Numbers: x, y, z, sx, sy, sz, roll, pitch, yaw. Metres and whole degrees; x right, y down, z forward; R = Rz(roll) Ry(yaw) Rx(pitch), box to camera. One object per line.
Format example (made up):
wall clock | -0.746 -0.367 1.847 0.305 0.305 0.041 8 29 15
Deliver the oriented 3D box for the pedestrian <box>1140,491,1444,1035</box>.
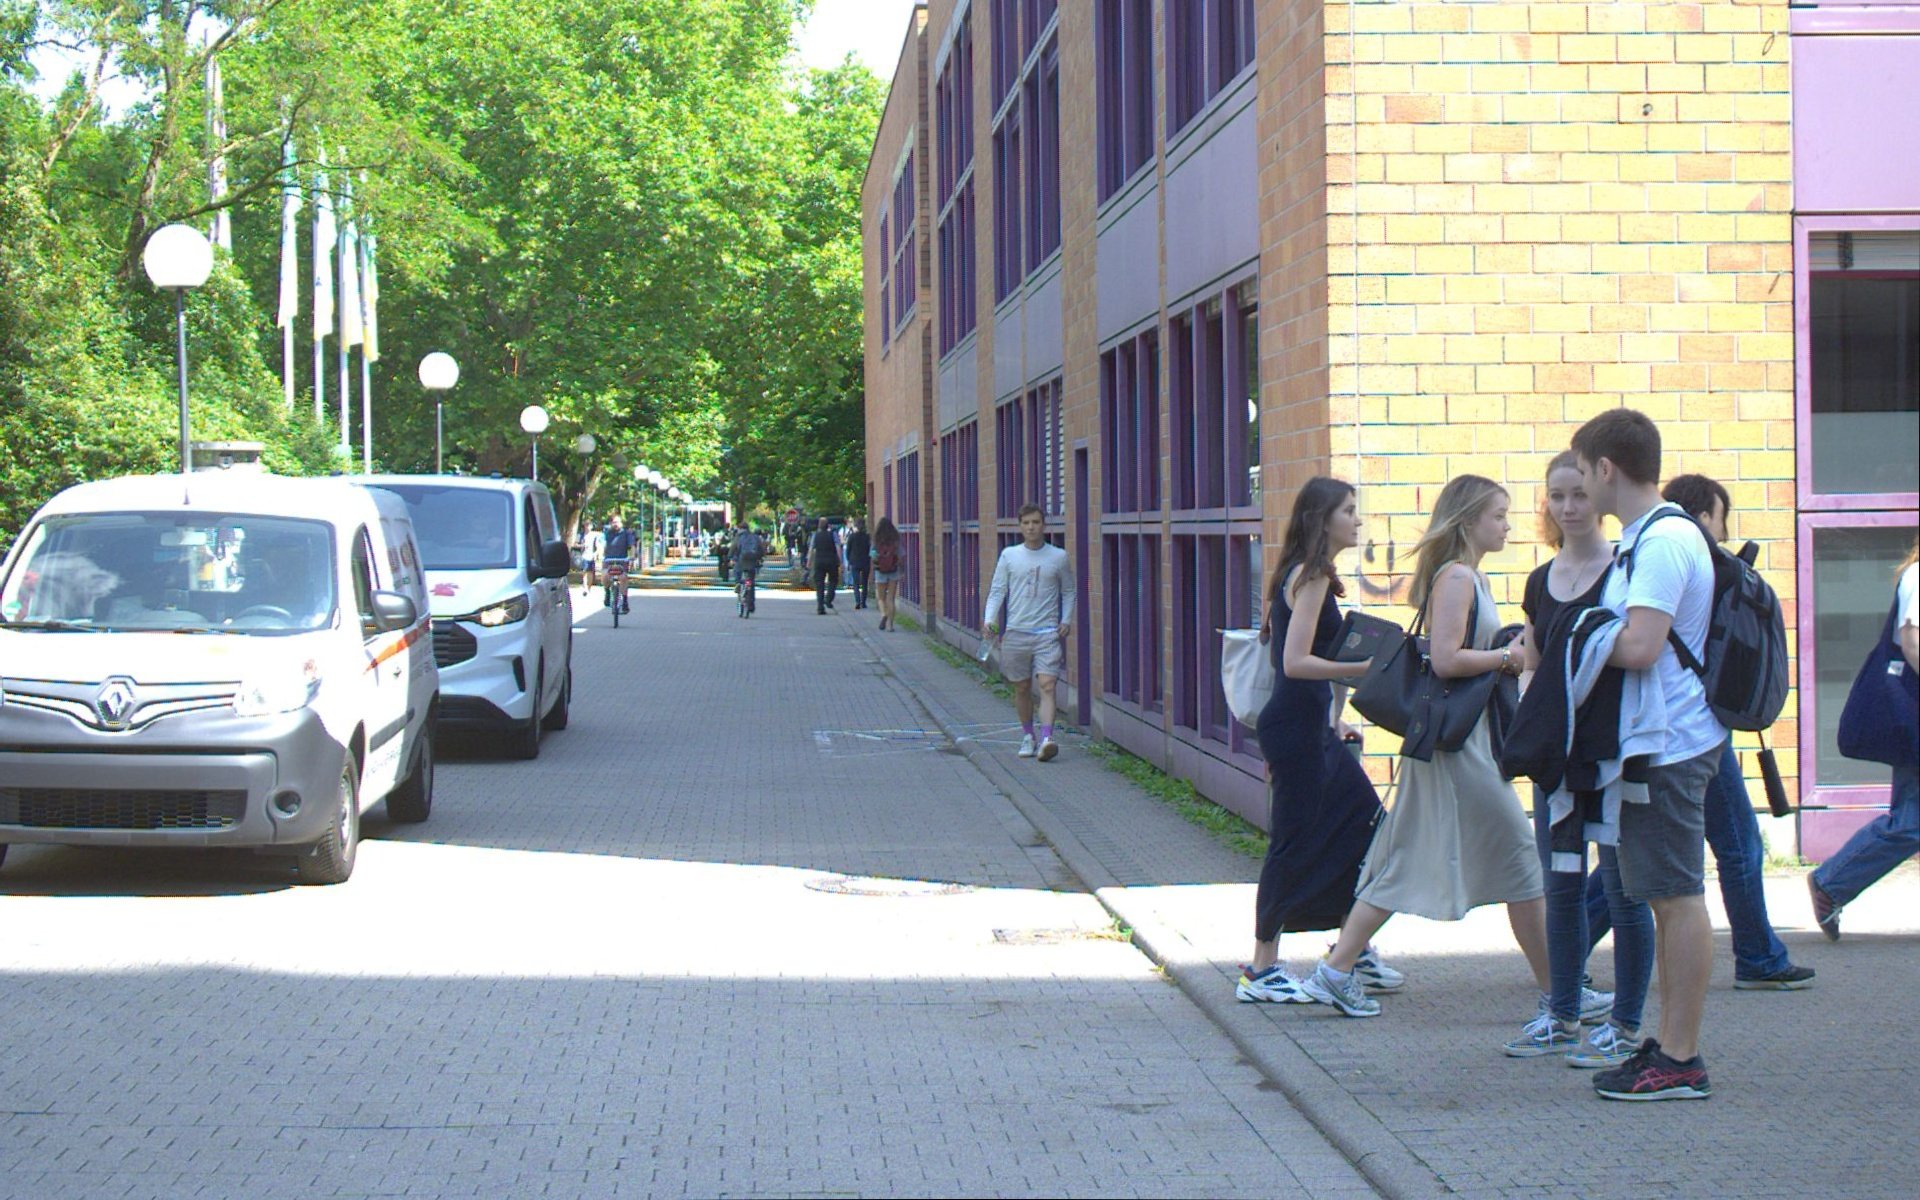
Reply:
pedestrian | 1.060 0.503 11.051 0.886 1.666 0.643 -2 2 4

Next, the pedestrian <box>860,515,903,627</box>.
pedestrian | -1.193 -0.437 51.994 0.586 1.667 0.699 -2 0 -2

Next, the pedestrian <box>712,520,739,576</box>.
pedestrian | -7.146 -1.569 104.692 0.725 1.667 0.748 -2 0 -2

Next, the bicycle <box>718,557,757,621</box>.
bicycle | -3.899 -0.206 60.198 0.587 1.080 1.908 -1 1 -7

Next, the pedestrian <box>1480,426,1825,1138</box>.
pedestrian | 1.802 0.463 9.028 0.767 1.788 0.588 -2 0 4

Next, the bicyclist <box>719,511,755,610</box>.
bicyclist | -3.906 -0.694 60.204 0.587 1.710 0.665 -1 1 -7

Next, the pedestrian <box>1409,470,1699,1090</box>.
pedestrian | 1.651 0.490 9.632 0.696 1.667 0.588 -2 0 4

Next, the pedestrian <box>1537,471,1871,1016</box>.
pedestrian | 2.347 0.445 10.920 0.929 1.667 0.588 -1 0 4

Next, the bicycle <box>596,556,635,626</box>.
bicycle | -5.470 -0.153 54.528 0.587 1.080 1.814 -1 1 -7

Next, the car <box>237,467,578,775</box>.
car | -3.845 0.076 24.749 1.883 1.967 5.215 -1 1 -3

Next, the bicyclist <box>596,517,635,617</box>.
bicyclist | -5.458 -0.521 54.453 0.587 1.567 0.829 -1 1 -7

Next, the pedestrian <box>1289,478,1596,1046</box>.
pedestrian | 1.446 0.473 10.400 0.886 1.667 0.559 0 0 4

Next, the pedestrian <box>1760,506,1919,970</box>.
pedestrian | 3.313 0.450 11.929 0.886 1.537 0.743 -2 2 4

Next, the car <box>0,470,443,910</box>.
car | -3.553 0.317 16.148 1.790 1.755 4.482 -1 1 -3

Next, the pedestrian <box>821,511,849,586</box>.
pedestrian | -3.251 -1.326 89.322 0.653 1.916 0.817 -2 0 -2

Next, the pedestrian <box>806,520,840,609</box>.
pedestrian | -2.615 -0.675 65.577 0.586 1.667 0.817 -2 0 -2

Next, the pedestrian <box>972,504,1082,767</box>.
pedestrian | 0.443 0.231 23.140 0.682 1.741 0.783 0 0 -3
